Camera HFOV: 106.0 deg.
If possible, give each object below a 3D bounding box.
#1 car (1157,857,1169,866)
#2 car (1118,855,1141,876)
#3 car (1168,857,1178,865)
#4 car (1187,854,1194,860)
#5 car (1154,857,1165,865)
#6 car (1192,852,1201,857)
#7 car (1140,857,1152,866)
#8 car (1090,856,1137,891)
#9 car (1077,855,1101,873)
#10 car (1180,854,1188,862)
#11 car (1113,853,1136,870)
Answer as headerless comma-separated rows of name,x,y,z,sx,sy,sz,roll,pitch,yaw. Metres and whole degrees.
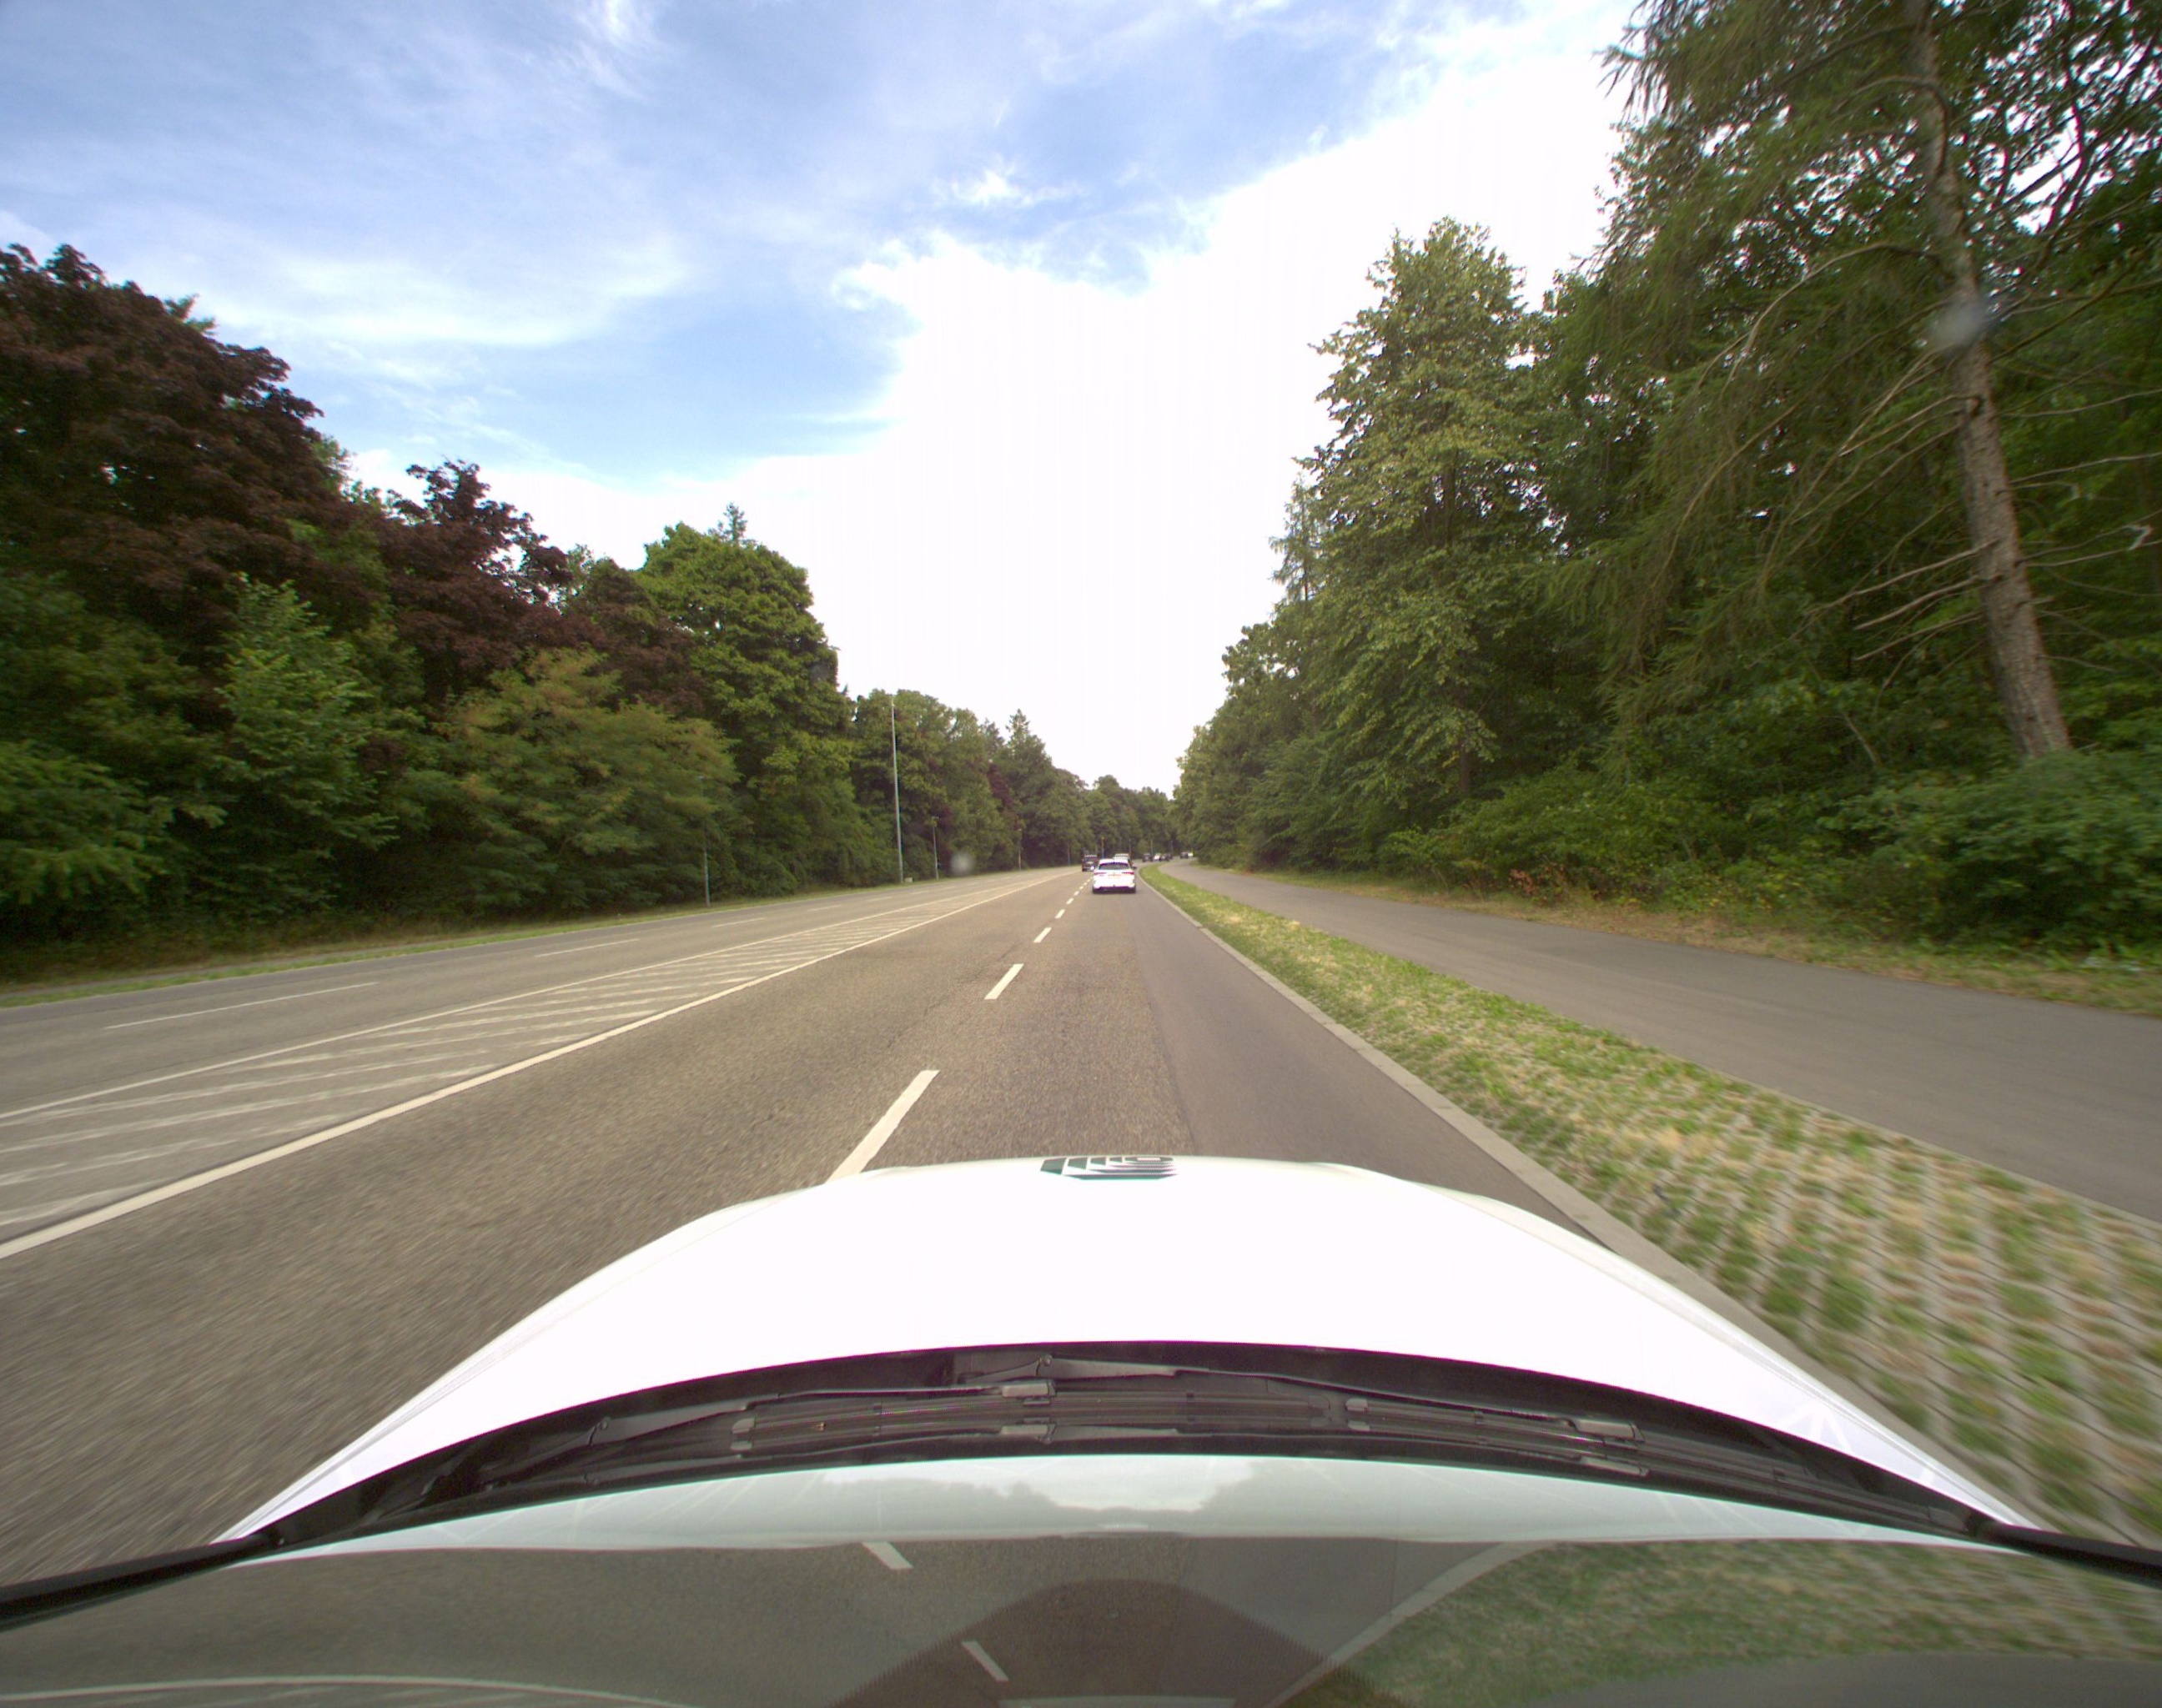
car,16.159,1.427,161.191,1.981,1.783,4.011,0,-1,11
car,3.502,0.822,58.434,1.628,1.420,4.004,0,-1,4
car,22.540,1.708,199.354,1.981,1.783,4.012,0,-1,11
car,33.077,0.920,245.941,1.875,1.816,4.014,0,-1,14
car,17.425,1.499,180.578,1.980,1.783,4.013,0,-1,12
car,32.888,0.135,231.560,1.979,1.409,4.015,0,-1,14
car,12.912,1.470,161.924,1.982,1.783,4.009,0,-1,9
car,1.345,0.823,34.541,1.830,1.410,4.491,0,-1,1
car,0.832,1.030,82.953,1.983,1.787,4.006,0,-1,6
car,26.066,0.981,205.992,1.981,1.783,4.011,0,-1,11
car,4.387,0.769,81.749,1.983,1.607,4.008,0,-1,7
